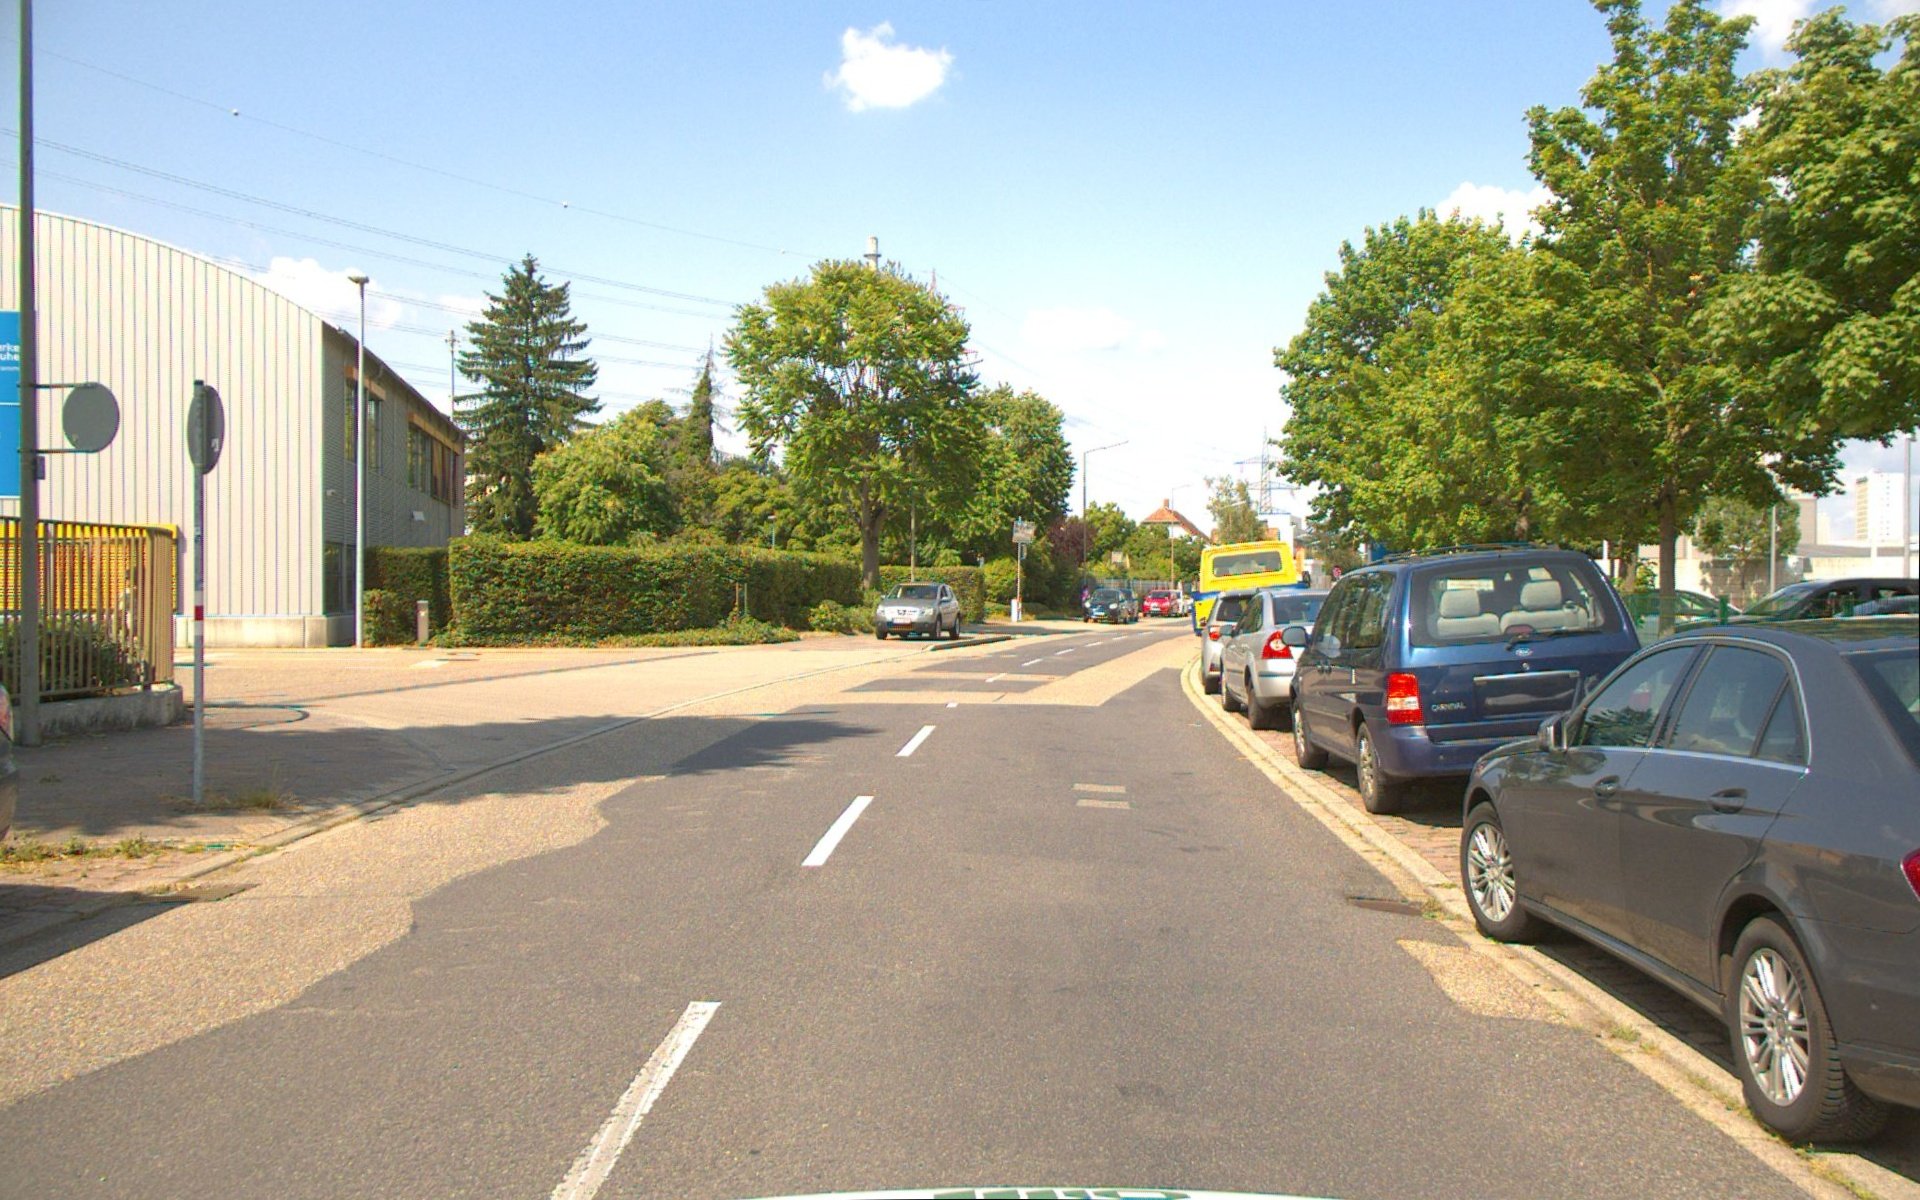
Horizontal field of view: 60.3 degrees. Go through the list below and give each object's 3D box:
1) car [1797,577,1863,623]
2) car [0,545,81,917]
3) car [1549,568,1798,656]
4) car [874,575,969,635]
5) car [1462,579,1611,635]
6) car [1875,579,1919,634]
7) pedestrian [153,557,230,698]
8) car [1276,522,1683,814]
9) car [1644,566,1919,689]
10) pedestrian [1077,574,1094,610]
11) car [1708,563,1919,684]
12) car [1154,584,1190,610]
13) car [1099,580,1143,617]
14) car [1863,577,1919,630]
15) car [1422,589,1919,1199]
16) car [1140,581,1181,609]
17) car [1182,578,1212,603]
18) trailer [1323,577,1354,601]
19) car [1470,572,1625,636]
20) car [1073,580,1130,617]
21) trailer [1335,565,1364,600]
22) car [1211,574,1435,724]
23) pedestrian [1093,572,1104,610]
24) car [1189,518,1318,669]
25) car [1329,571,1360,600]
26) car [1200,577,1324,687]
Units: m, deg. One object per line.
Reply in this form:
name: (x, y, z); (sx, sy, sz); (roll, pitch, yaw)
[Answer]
car: (30.466, 0.000, 57.996); (1.955, 1.494, 4.262); (2, 0, 27)
car: (-5.210, 0.582, 5.741); (1.762, 1.679, 4.690); (1, 0, 0)
car: (14.309, 0.228, 33.342); (4.226, 1.649, 1.764); (-1, 0, 3)
car: (-1.037, 0.133, 46.913); (1.720, 1.601, 4.481); (1, 0, 12)
car: (17.300, 0.219, 49.816); (4.119, 1.621, 1.911); (0, 0, 15)
car: (26.070, 0.165, 42.779); (3.920, 1.420, 1.845); (0, 1, 19)
pedestrian: (-9.574, 0.338, 20.612); (0.536, 1.721, 0.734); (0, -1, 8)
car: (3.778, 0.423, 13.037); (1.811, 1.796, 5.079); (-2, 0, 3)
car: (12.900, 0.413, 25.119); (4.235, 1.700, 1.858); (2, 0, 3)
pedestrian: (6.357, -0.393, 83.702); (0.693, 1.832, 0.916); (0, 0, 15)
car: (12.692, 0.333, 22.532); (4.235, 1.522, 1.629); (2, 0, 3)
car: (12.377, -0.187, 96.536); (1.610, 1.503, 4.032); (0, 0, 14)
car: (7.835, -0.079, 80.303); (1.615, 1.674, 3.276); (3, 1, 13)
car: (27.075, 0.088, 45.407); (3.675, 1.420, 2.014); (0, 1, 18)
car: (3.280, 0.734, 6.071); (1.804, 1.486, 4.869); (-2, 0, 0)
car: (11.177, -0.259, 91.927); (1.631, 1.492, 3.746); (2, 0, 16)
car: (15.058, -0.593, 105.141); (1.585, 1.549, 4.179); (0, 1, 12)
trailer: (25.519, -0.739, 111.611); (1.711, 1.442, 4.553); (-3, -1, 10)
car: (15.802, 0.110, 44.647); (3.792, 1.666, 1.911); (0, 0, 15)
car: (6.422, -0.071, 74.851); (1.806, 1.534, 4.003); (3, 1, 15)
trailer: (32.930, -1.471, 139.751); (2.157, 2.785, 6.226); (-3, -1, 15)
car: (4.128, 0.502, 19.536); (1.794, 1.518, 4.658); (-1, 0, 3)
pedestrian: (7.006, -0.435, 83.876); (0.441, 1.927, 0.678); (0, 0, 15)
car: (5.511, -0.110, 31.411); (2.111, 2.508, 6.645); (-1, 0, 9)
car: (28.189, -1.071, 121.165); (1.951, 2.049, 5.654); (-1, 0, 15)
car: (4.542, 0.454, 25.313); (1.649, 1.521, 3.952); (-1, 0, 8)
